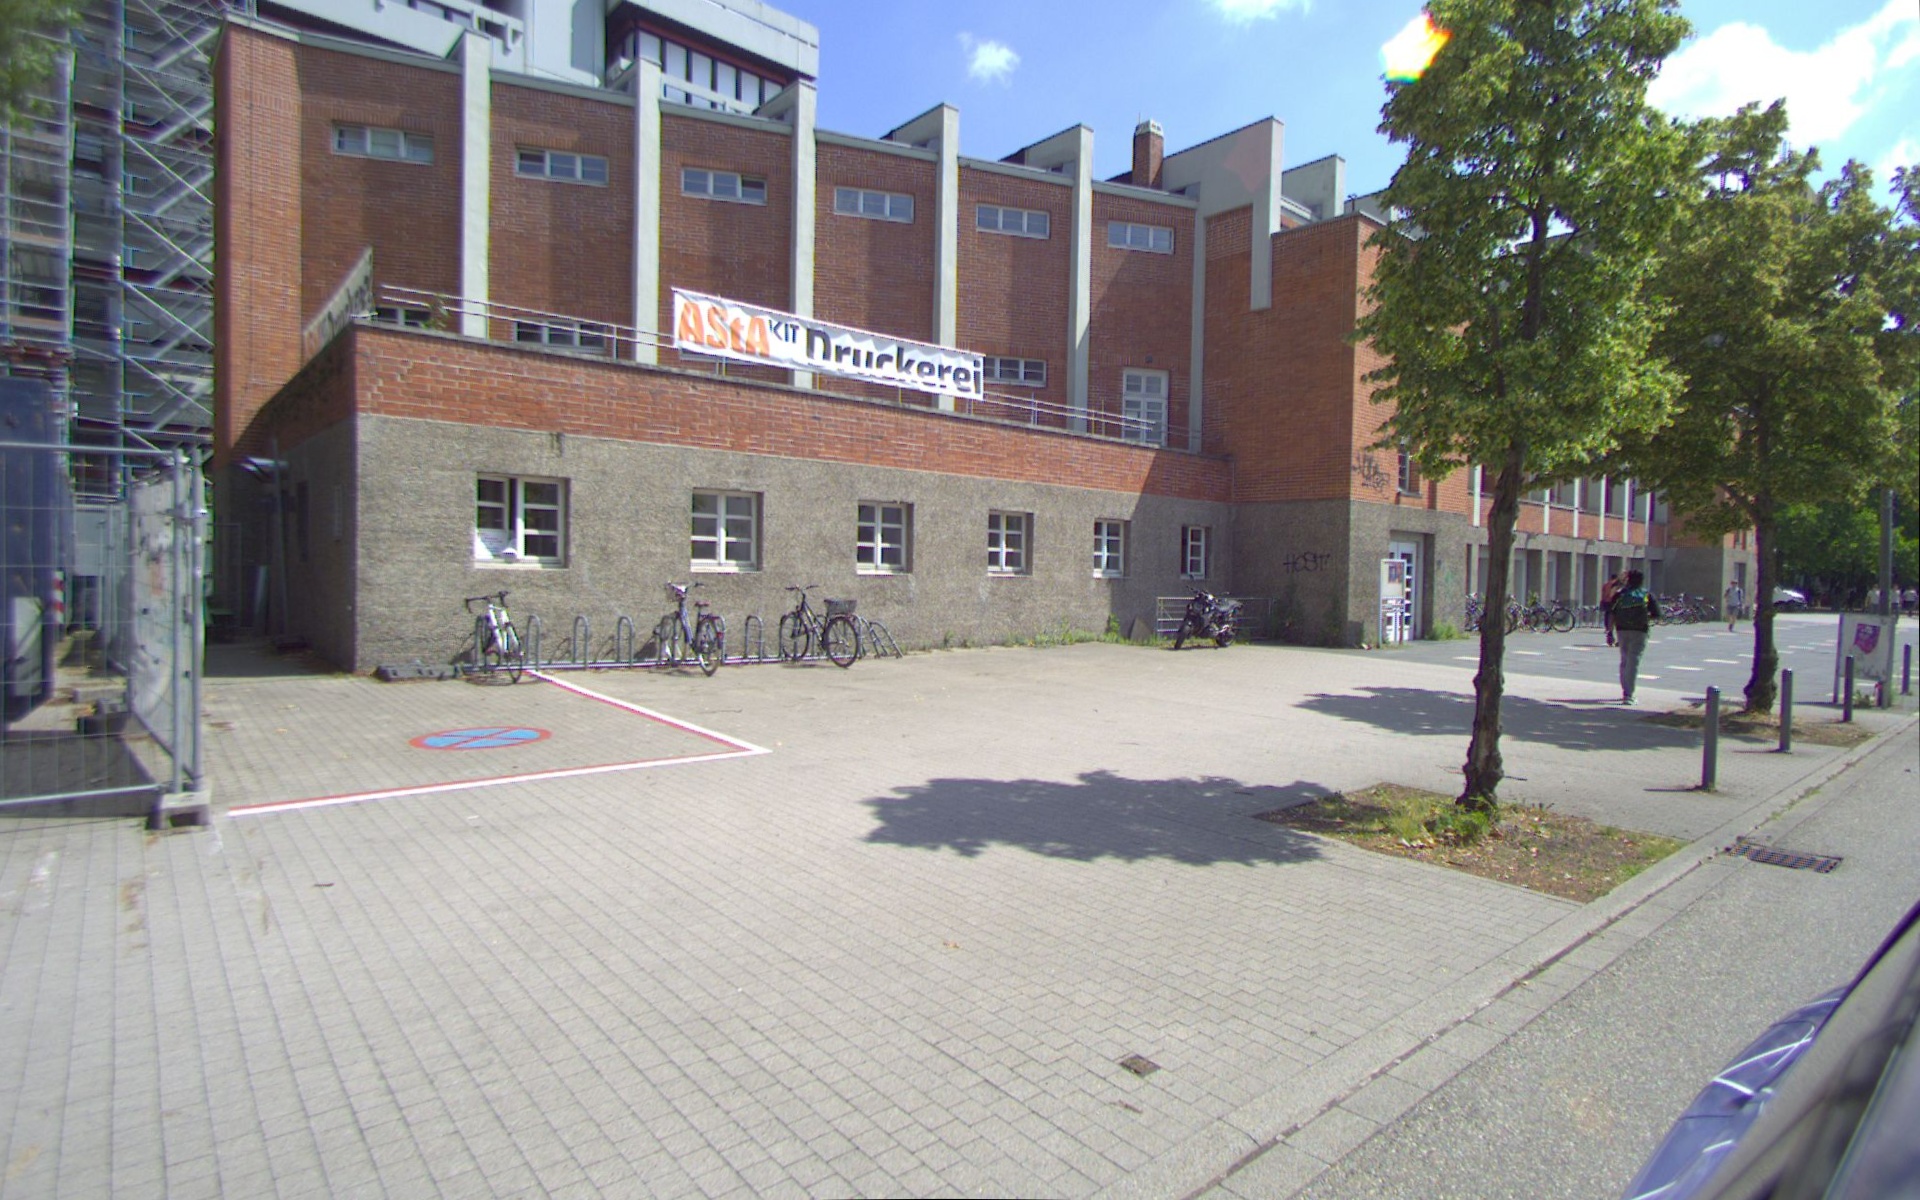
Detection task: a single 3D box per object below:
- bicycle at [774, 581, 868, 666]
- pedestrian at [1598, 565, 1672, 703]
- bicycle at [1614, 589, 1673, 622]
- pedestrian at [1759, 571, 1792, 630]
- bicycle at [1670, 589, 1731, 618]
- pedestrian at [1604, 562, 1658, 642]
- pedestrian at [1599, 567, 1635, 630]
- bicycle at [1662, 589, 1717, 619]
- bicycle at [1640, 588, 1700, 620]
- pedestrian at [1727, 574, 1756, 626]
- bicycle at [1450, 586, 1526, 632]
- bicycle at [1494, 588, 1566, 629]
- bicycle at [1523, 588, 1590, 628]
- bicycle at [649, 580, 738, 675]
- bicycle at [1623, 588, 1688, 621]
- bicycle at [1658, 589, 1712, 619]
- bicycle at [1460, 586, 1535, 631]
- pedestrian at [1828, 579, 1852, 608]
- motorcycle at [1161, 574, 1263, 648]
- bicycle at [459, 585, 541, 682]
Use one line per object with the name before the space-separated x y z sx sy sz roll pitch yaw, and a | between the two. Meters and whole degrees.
bicycle | -2.024 0.306 14.577 0.440 1.123 1.810 0 2 -40
pedestrian | 8.804 0.419 13.201 0.641 1.718 0.780 2 2 44
bicycle | 24.652 0.180 36.499 0.428 1.124 1.685 0 2 -42
pedestrian | 27.360 -0.001 33.949 1.092 1.913 0.665 -1 3 -44
bicycle | 30.300 0.134 41.412 0.449 1.124 1.933 0 2 -42
pedestrian | 16.130 0.026 24.334 0.844 1.857 1.178 2 2 44
pedestrian | 19.896 -0.055 30.644 0.891 1.857 0.664 0 2 -42
bicycle | 28.971 0.154 40.234 0.428 1.124 1.697 0 2 -42
bicycle | 27.207 0.141 38.785 0.428 1.124 1.800 0 2 -42
pedestrian | 26.803 -0.004 34.687 0.985 1.727 0.585 -1 3 -43
bicycle | 14.265 0.236 27.367 0.428 1.164 1.756 0 2 -42
bicycle | 16.658 0.233 29.603 0.428 1.124 1.750 0 2 -42
bicycle | 17.928 0.231 30.442 0.428 1.124 1.685 0 2 -42
bicycle | -3.495 0.327 13.185 0.440 1.123 1.705 0 2 -40
bicycle | 25.853 0.161 37.628 0.428 1.124 1.914 0 2 -42
bicycle | 28.466 0.143 39.772 0.428 1.124 1.653 0 2 -42
bicycle | 14.882 0.229 28.047 0.509 1.164 1.756 0 2 -42
pedestrian | 60.269 -0.452 69.296 0.973 1.970 0.969 2 1 27
motorcycle | 4.830 0.194 19.339 2.180 1.339 0.698 0 2 -39
bicycle | -5.426 0.359 11.887 0.440 1.015 1.675 0 2 -40
